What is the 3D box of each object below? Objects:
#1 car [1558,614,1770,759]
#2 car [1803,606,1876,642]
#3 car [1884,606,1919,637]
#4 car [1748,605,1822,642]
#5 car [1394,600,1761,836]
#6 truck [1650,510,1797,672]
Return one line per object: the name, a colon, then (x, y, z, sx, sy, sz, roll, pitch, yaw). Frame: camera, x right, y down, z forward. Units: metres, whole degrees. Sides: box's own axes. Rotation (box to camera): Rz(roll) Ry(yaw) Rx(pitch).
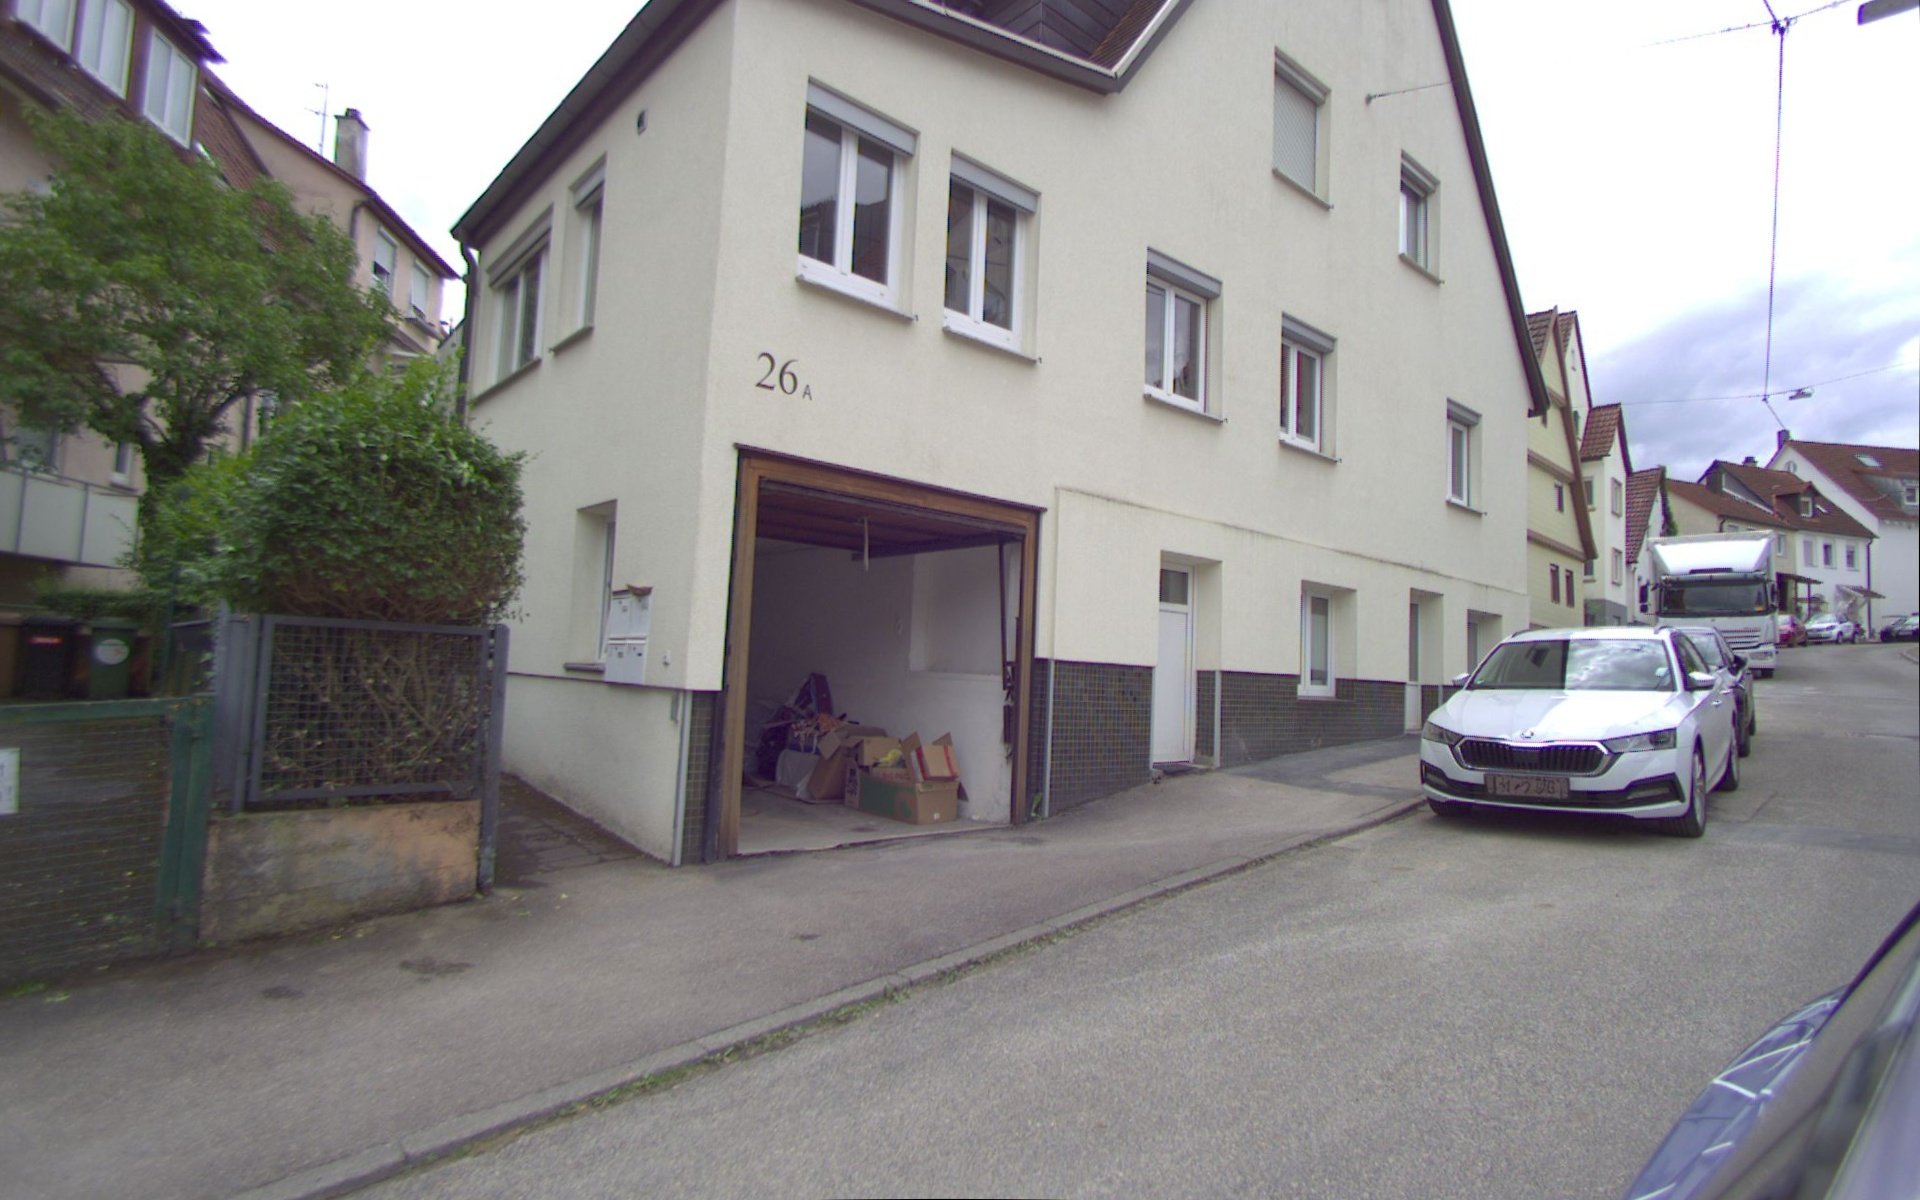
car: (8.601, 0.935, 12.221, 1.671, 1.427, 3.992, -5, -3, 40)
car: (41.303, 1.108, 47.520, 2.839, 1.553, 1.617, 0, -6, -30)
car: (48.542, 1.079, 50.635, 3.918, 1.426, 1.726, 1, -5, -20)
car: (35.462, 0.996, 43.473, 3.783, 1.471, 1.681, 0, -3, -40)
car: (5.344, 0.785, 8.484, 1.793, 1.464, 4.231, -4, -3, 42)
truck: (20.094, -0.158, 26.716, 2.669, 3.643, 7.995, -1, -1, 37)
